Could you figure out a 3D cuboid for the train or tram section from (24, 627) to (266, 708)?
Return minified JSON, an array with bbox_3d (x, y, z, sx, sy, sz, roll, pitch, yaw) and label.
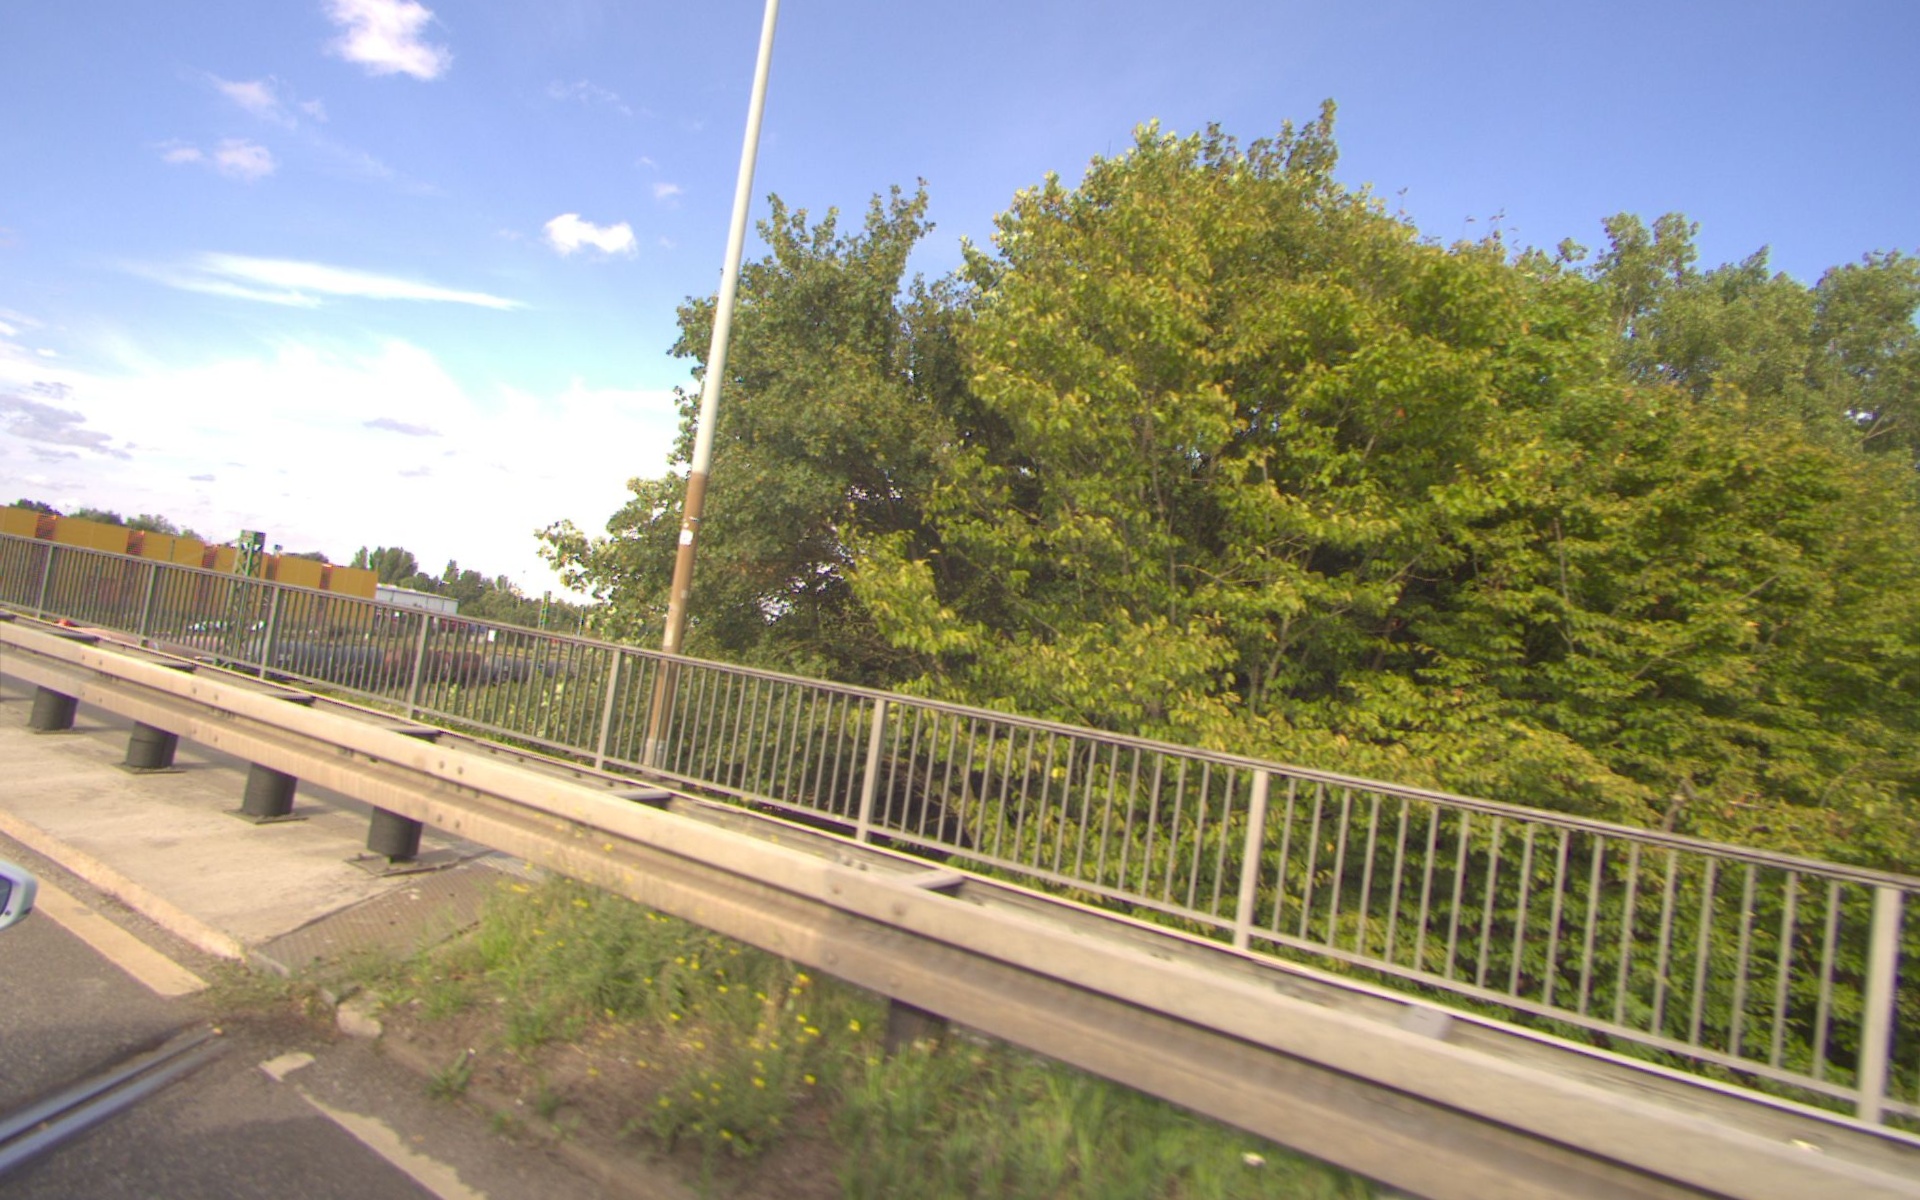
[{"bbox_3d":[-57.836,4.656,72.648,3.039,4.766,16.762,7,-2,1],"label":"train or tram section"}]
